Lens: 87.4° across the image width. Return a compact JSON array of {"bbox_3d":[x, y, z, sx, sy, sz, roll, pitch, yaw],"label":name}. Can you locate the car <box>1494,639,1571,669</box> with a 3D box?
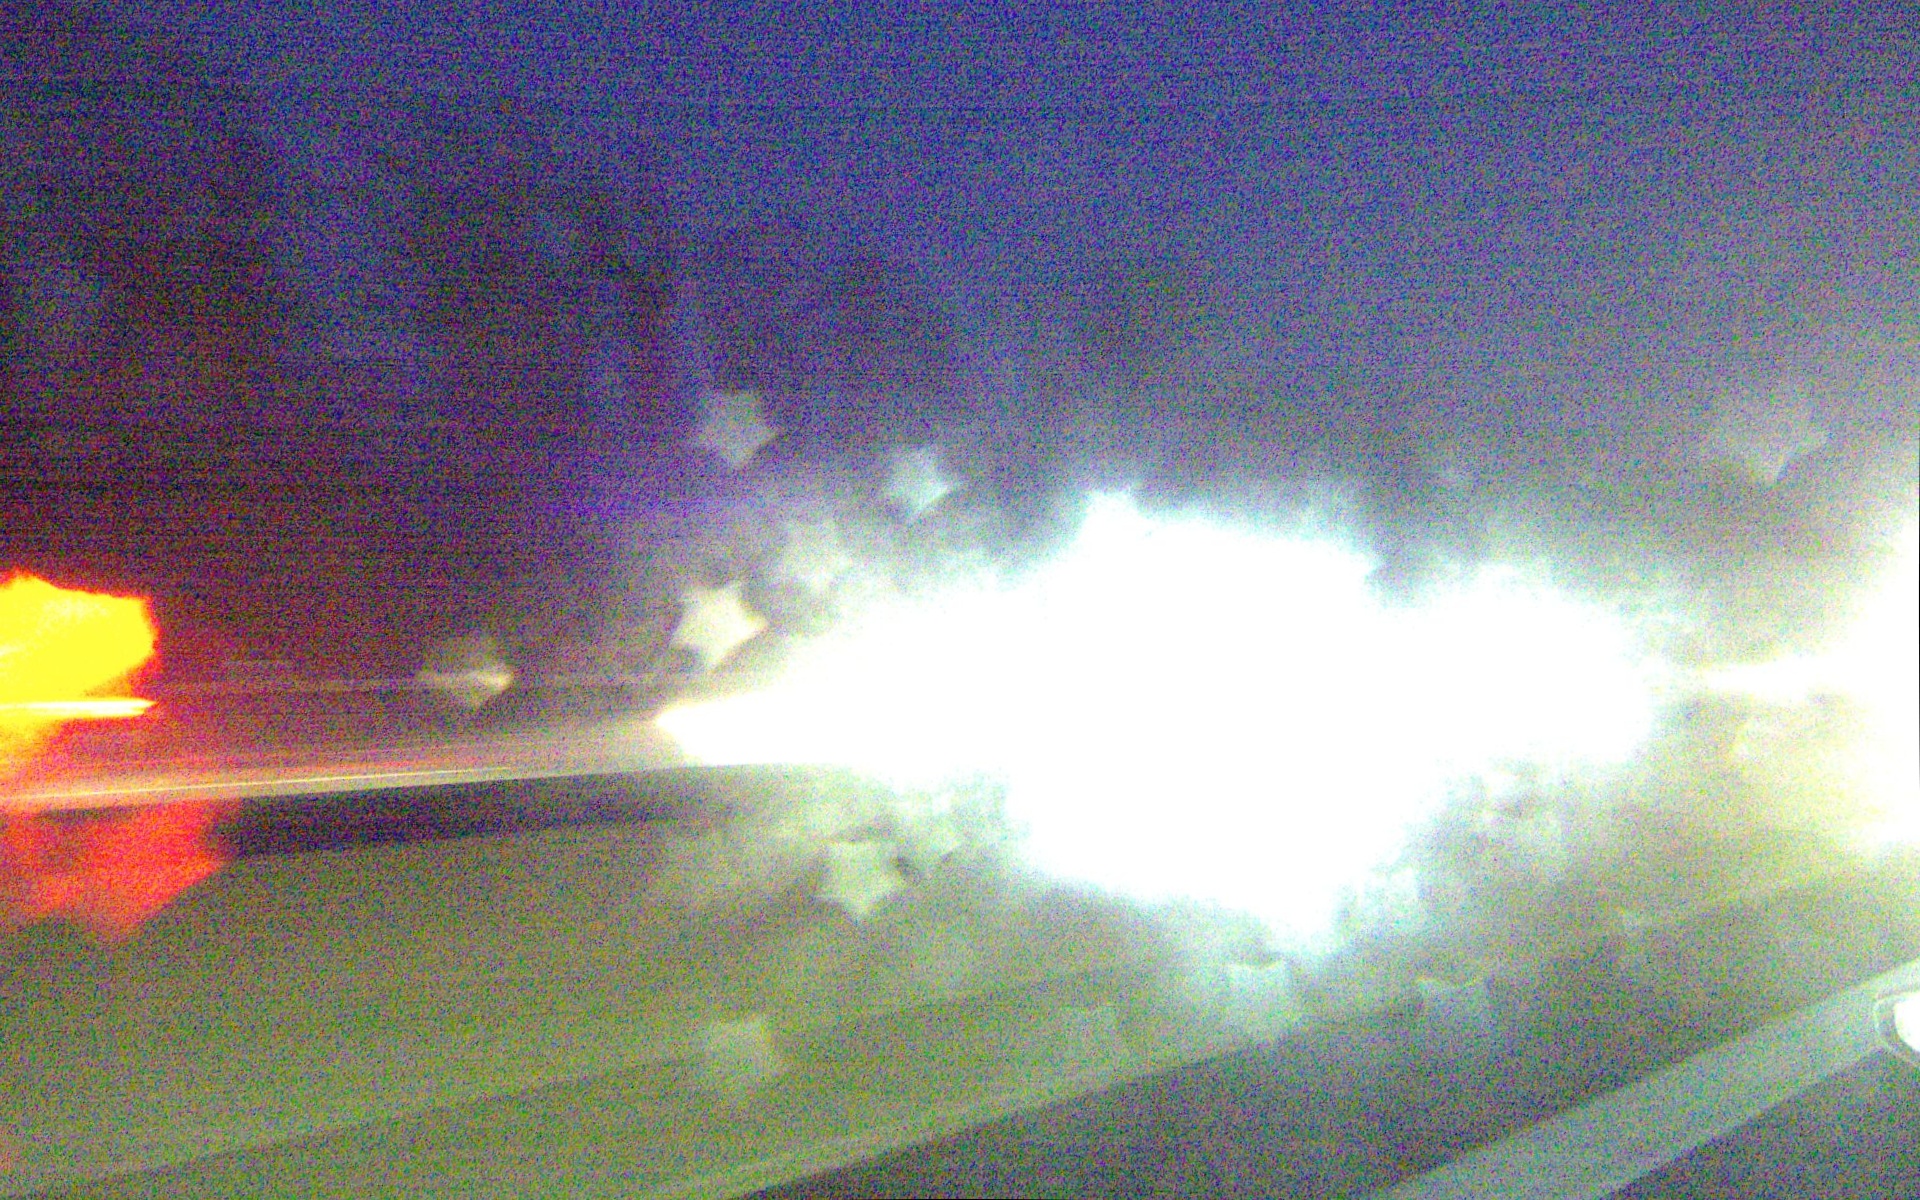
[{"bbox_3d":[30.802,2.885,53.991,4.309,1.491,1.851,2,0,-34],"label":"car"}]

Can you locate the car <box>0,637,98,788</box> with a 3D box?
[{"bbox_3d":[-12.414,1.223,10.818,4.451,1.638,1.863,1,-2,-32],"label":"car"}]

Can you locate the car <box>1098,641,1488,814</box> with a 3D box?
[{"bbox_3d":[3.941,1.313,11.722,4.368,1.638,1.983,1,-2,-31],"label":"car"}]

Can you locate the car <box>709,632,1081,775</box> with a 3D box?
[{"bbox_3d":[-0.813,1.264,13.637,4.692,1.638,1.983,1,-2,-32],"label":"car"}]
